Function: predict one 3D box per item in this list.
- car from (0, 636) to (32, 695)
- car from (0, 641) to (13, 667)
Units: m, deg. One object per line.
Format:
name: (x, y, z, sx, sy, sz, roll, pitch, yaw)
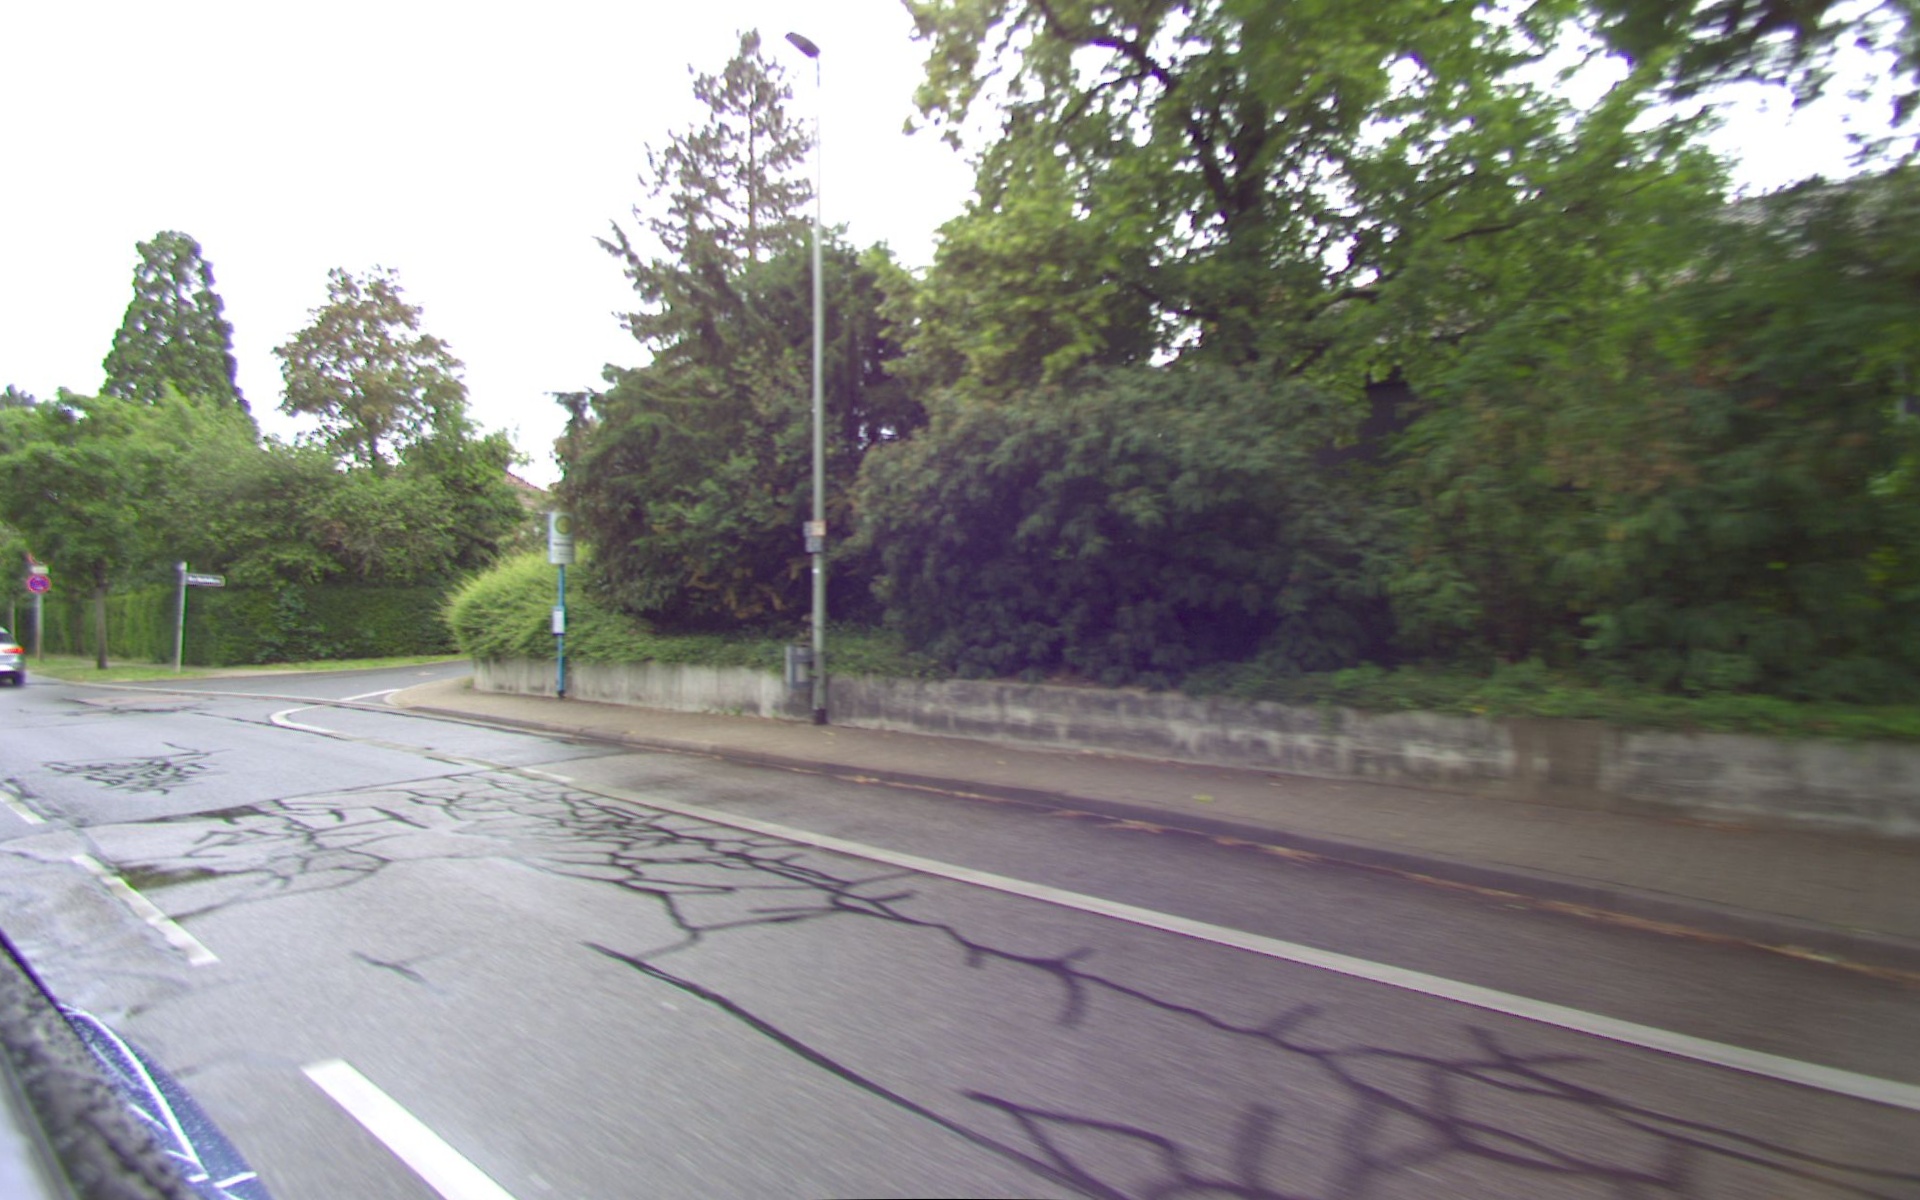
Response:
car: (-24.963, 1.612, 25.416, 4.354, 1.433, 1.773, -2, -4, 39)
car: (-62.173, 3.469, 63.456, 1.813, 1.598, 3.819, -2, -1, 34)
